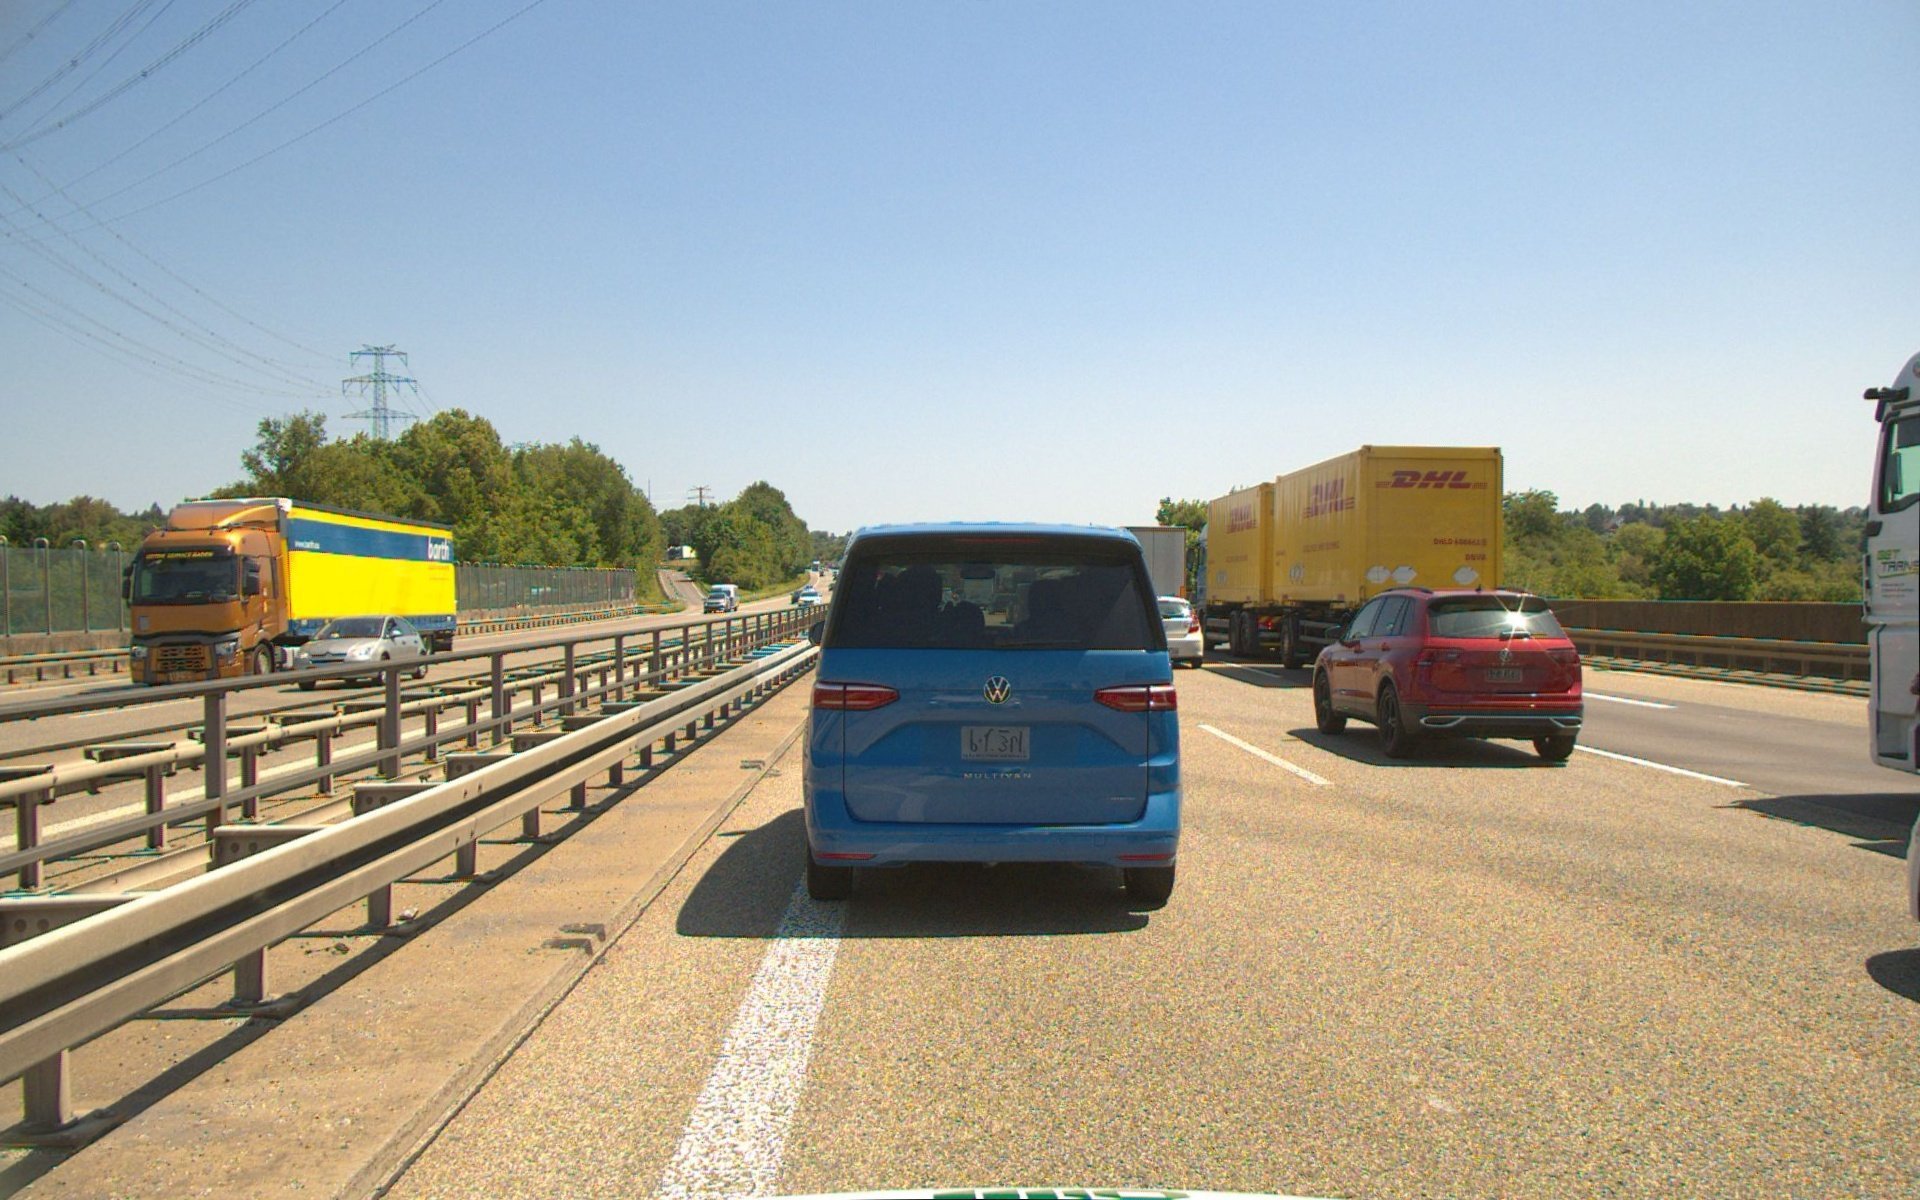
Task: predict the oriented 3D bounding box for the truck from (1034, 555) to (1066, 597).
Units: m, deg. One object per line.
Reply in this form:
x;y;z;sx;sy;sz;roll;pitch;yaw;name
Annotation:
5.863;-1.537;108.162;1.760;2.641;4.304;1;0;-1;truck

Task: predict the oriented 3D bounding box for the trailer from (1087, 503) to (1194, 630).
7.192;-1.229;67.488;2.965;4.692;10.922;1;0;-1;trailer

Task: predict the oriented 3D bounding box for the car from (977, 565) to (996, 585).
2.818;-2.686;178.062;1.953;2.049;3.999;1;0;-1;car

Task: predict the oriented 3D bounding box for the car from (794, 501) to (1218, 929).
0.173;0.531;9.450;1.891;1.906;3.999;1;0;-1;car

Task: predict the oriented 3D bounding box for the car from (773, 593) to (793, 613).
-19.310;0.356;180.459;1.805;2.077;3.942;1;0;-1;car

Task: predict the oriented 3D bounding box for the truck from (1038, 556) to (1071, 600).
5.892;-1.347;103.218;1.706;2.593;4.209;1;0;-1;truck

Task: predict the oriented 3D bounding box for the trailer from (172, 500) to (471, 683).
-16.763;-0.166;45.064;2.574;4.186;14.016;0;0;1;trailer

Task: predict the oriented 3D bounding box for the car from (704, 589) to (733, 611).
-19.384;0.003;132.965;1.805;1.782;3.942;1;0;-1;car

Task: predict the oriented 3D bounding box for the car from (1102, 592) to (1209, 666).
4.196;0.606;35.990;1.778;1.496;3.931;1;0;-1;car

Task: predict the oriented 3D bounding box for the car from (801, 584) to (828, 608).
-11.499;-0.301;130.659;1.805;1.782;3.942;1;0;-1;car

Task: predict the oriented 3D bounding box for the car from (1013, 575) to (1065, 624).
3.299;-0.007;69.821;1.922;1.970;3.931;1;0;-1;car

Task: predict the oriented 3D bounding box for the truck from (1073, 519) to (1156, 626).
7.087;-1.208;76.935;2.965;4.692;7.919;1;0;-1;truck

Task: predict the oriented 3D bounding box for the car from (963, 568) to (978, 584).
1.491;-3.325;227.158;1.953;2.049;3.999;1;0;-1;car

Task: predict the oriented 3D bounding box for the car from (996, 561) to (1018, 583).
4.481;-2.658;159.310;1.953;2.049;3.999;1;0;-1;car

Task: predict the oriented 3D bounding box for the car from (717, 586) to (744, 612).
-19.122;-0.075;137.937;1.805;2.077;3.942;1;0;-1;car

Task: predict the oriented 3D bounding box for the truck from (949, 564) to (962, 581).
-0.688;-4.294;259.441;1.953;2.630;4.552;1;0;-1;truck

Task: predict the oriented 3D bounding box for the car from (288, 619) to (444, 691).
-12.463;1.123;34.951;1.654;1.326;4.013;-3;0;2;car

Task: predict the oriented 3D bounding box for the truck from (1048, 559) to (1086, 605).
6.085;-1.003;94.378;1.761;2.492;4.503;1;0;-1;truck

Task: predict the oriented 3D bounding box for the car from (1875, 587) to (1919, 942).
4.892;0.715;5.022;1.674;1.477;4.428;1;1;-2;car

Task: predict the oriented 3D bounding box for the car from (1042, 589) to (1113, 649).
3.445;0.553;49.090;1.778;1.708;3.931;1;0;-1;car

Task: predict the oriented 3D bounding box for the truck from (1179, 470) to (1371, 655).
7.794;-0.830;42.423;2.645;4.159;9.935;1;0;-2;truck

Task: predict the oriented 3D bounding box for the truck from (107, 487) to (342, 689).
-16.842;-0.240;38.367;2.617;4.258;6.287;-1;0;0;truck

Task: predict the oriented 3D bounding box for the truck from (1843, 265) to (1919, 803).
8.643;-0.498;8.043;2.794;4.003;10.606;1;0;-1;truck

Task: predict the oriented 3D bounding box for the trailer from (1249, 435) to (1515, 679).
8.045;-0.710;32.915;2.629;4.159;8.976;1;0;-2;trailer

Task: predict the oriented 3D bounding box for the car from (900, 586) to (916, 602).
-6.640;-0.757;210.313;1.953;2.049;3.999;1;0;-1;car

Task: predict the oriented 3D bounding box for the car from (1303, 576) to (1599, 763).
4.946;0.624;17.287;1.674;1.708;4.283;0;0;-2;car

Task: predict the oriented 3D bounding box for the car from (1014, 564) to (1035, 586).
5.443;-2.143;140.716;1.565;1.782;3.942;1;0;-1;car
